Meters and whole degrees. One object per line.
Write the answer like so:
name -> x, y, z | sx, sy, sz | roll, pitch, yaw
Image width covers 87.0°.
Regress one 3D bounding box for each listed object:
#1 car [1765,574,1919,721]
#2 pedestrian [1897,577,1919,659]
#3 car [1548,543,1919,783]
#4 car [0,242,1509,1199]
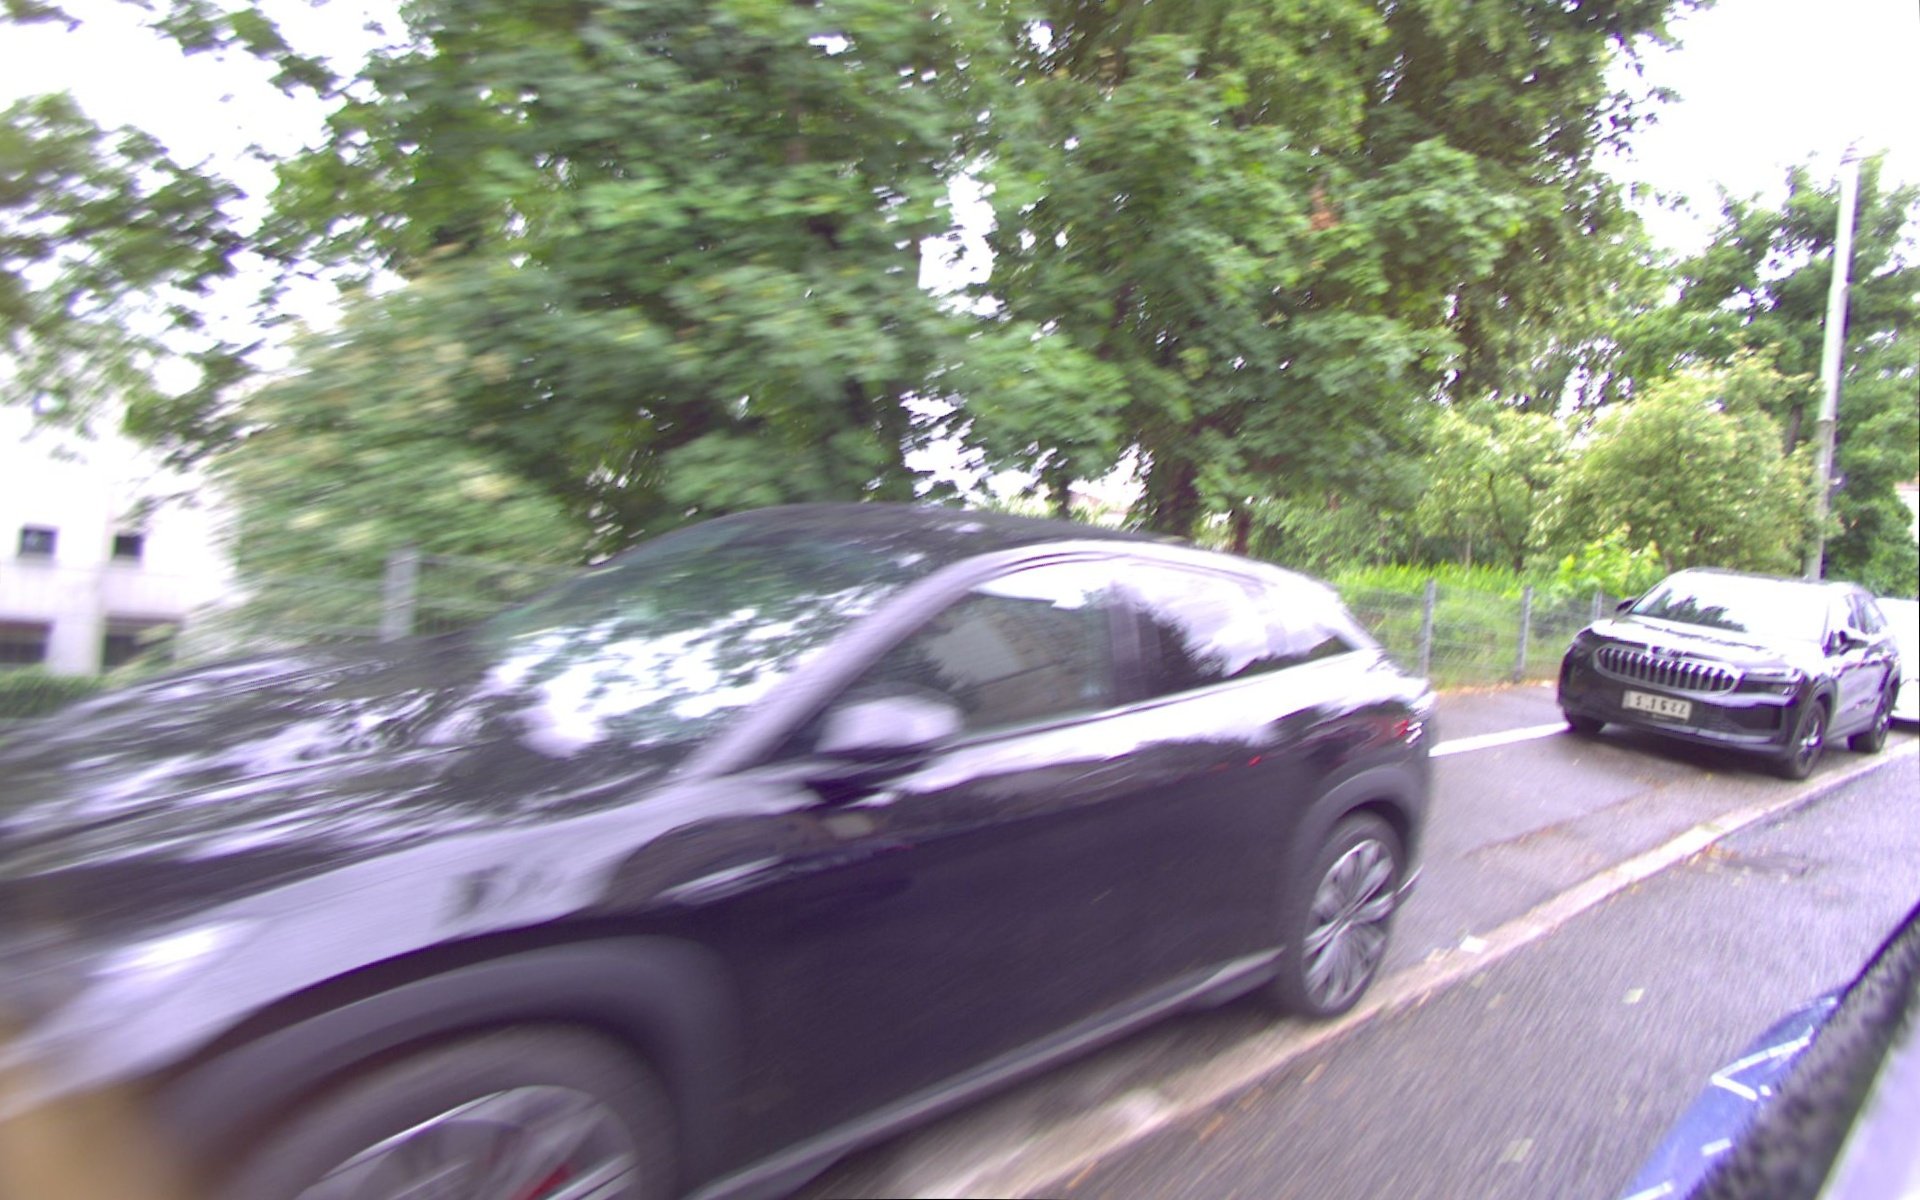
car -> 12.271, 0.544, 13.205 | 3.928, 1.511, 1.822 | 0, 9, -39
pedestrian -> 19.912, 0.391, 20.687 | 0.947, 1.624, 0.769 | 1, 4, -33
car -> 7.722, 0.469, 9.690 | 4.714, 1.703, 1.828 | 1, 4, -37
car -> -0.342, 0.308, 3.105 | 4.405, 1.628, 1.982 | 0, 6, -40
